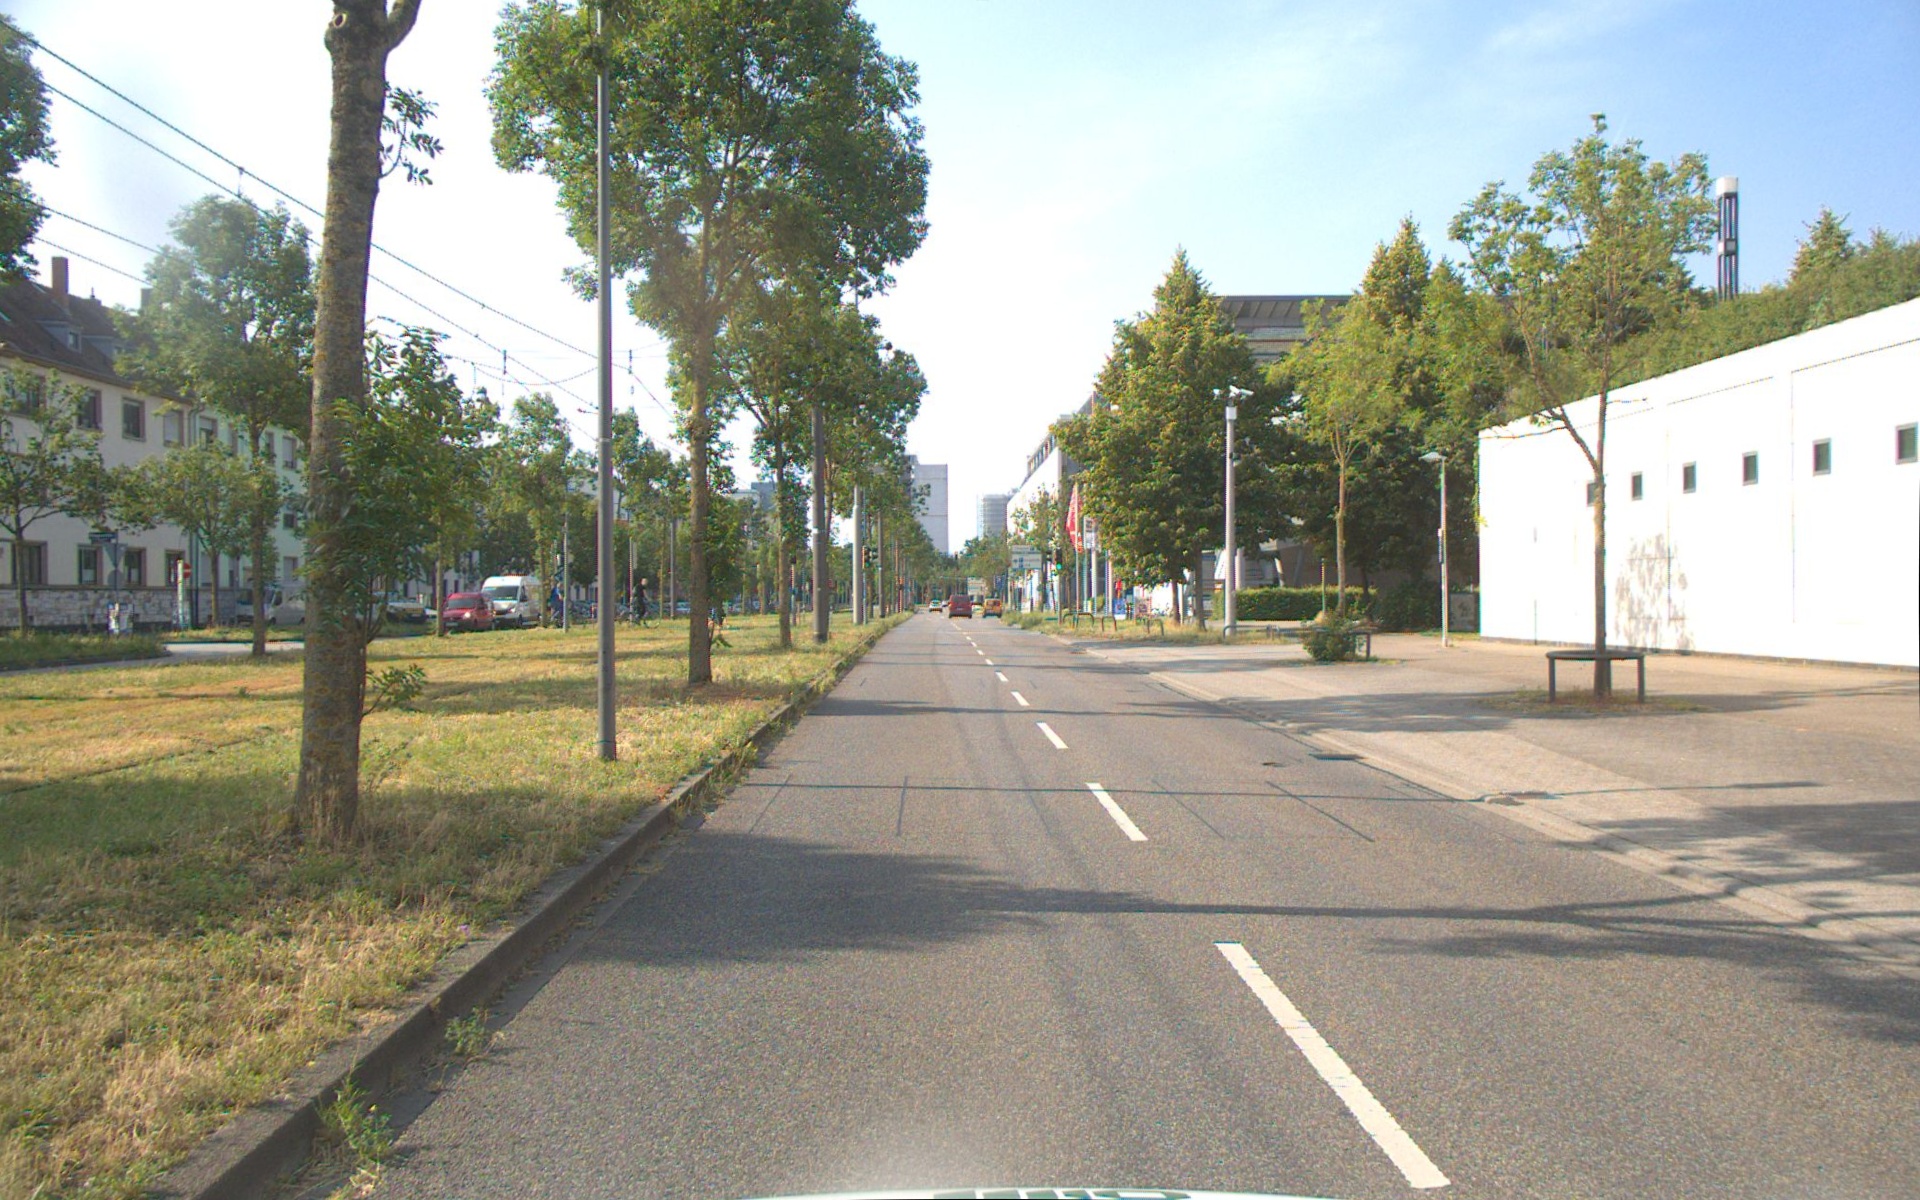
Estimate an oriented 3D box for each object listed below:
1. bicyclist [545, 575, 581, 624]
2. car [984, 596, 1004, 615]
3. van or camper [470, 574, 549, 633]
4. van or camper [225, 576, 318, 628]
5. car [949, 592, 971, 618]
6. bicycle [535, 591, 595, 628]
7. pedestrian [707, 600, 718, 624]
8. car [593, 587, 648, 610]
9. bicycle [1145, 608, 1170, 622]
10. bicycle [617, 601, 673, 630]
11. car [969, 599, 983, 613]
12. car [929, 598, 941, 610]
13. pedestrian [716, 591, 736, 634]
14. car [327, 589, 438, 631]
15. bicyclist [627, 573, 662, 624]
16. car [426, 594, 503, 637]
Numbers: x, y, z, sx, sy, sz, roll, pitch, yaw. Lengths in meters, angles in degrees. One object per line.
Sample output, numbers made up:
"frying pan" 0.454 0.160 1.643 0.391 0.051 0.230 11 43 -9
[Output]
"bicyclist" -14.990 -0.013 62.441 1.136 1.792 0.678 2 -1 -33
"car" 3.126 0.498 150.818 1.712 1.679 3.215 2 0 0
"van or camper" -20.986 0.186 77.342 2.159 2.575 6.028 2 0 -2
"van or camper" -33.474 0.118 80.592 1.952 2.369 5.828 2 0 1
"car" 0.013 0.412 133.863 1.712 2.049 3.215 2 0 0
"bicycle" -14.933 0.365 62.486 2.047 1.347 0.775 2 -1 -33
"pedestrian" -9.434 0.447 63.081 0.334 0.890 0.461 2 -1 0
"car" -25.374 -0.120 123.516 3.908 1.557 1.463 2 0 25
"bicycle" 13.373 0.998 112.038 1.589 0.903 0.550 2 -1 -3
"bicycle" -12.298 0.608 64.550 2.044 1.060 0.661 2 -1 -30
"car" 1.988 0.740 204.918 1.712 1.679 3.215 2 0 0
"car" -3.556 0.535 235.784 1.712 1.679 3.215 2 0 0
"pedestrian" -8.928 0.465 63.036 0.612 1.599 0.711 2 -1 0
"car" -26.508 0.467 75.877 5.215 1.768 1.994 2 0 33
"bicyclist" -12.321 -0.066 64.550 1.134 1.968 0.679 2 -1 -30
"car" -21.045 0.643 70.412 1.924 1.723 4.297 2 0 0
